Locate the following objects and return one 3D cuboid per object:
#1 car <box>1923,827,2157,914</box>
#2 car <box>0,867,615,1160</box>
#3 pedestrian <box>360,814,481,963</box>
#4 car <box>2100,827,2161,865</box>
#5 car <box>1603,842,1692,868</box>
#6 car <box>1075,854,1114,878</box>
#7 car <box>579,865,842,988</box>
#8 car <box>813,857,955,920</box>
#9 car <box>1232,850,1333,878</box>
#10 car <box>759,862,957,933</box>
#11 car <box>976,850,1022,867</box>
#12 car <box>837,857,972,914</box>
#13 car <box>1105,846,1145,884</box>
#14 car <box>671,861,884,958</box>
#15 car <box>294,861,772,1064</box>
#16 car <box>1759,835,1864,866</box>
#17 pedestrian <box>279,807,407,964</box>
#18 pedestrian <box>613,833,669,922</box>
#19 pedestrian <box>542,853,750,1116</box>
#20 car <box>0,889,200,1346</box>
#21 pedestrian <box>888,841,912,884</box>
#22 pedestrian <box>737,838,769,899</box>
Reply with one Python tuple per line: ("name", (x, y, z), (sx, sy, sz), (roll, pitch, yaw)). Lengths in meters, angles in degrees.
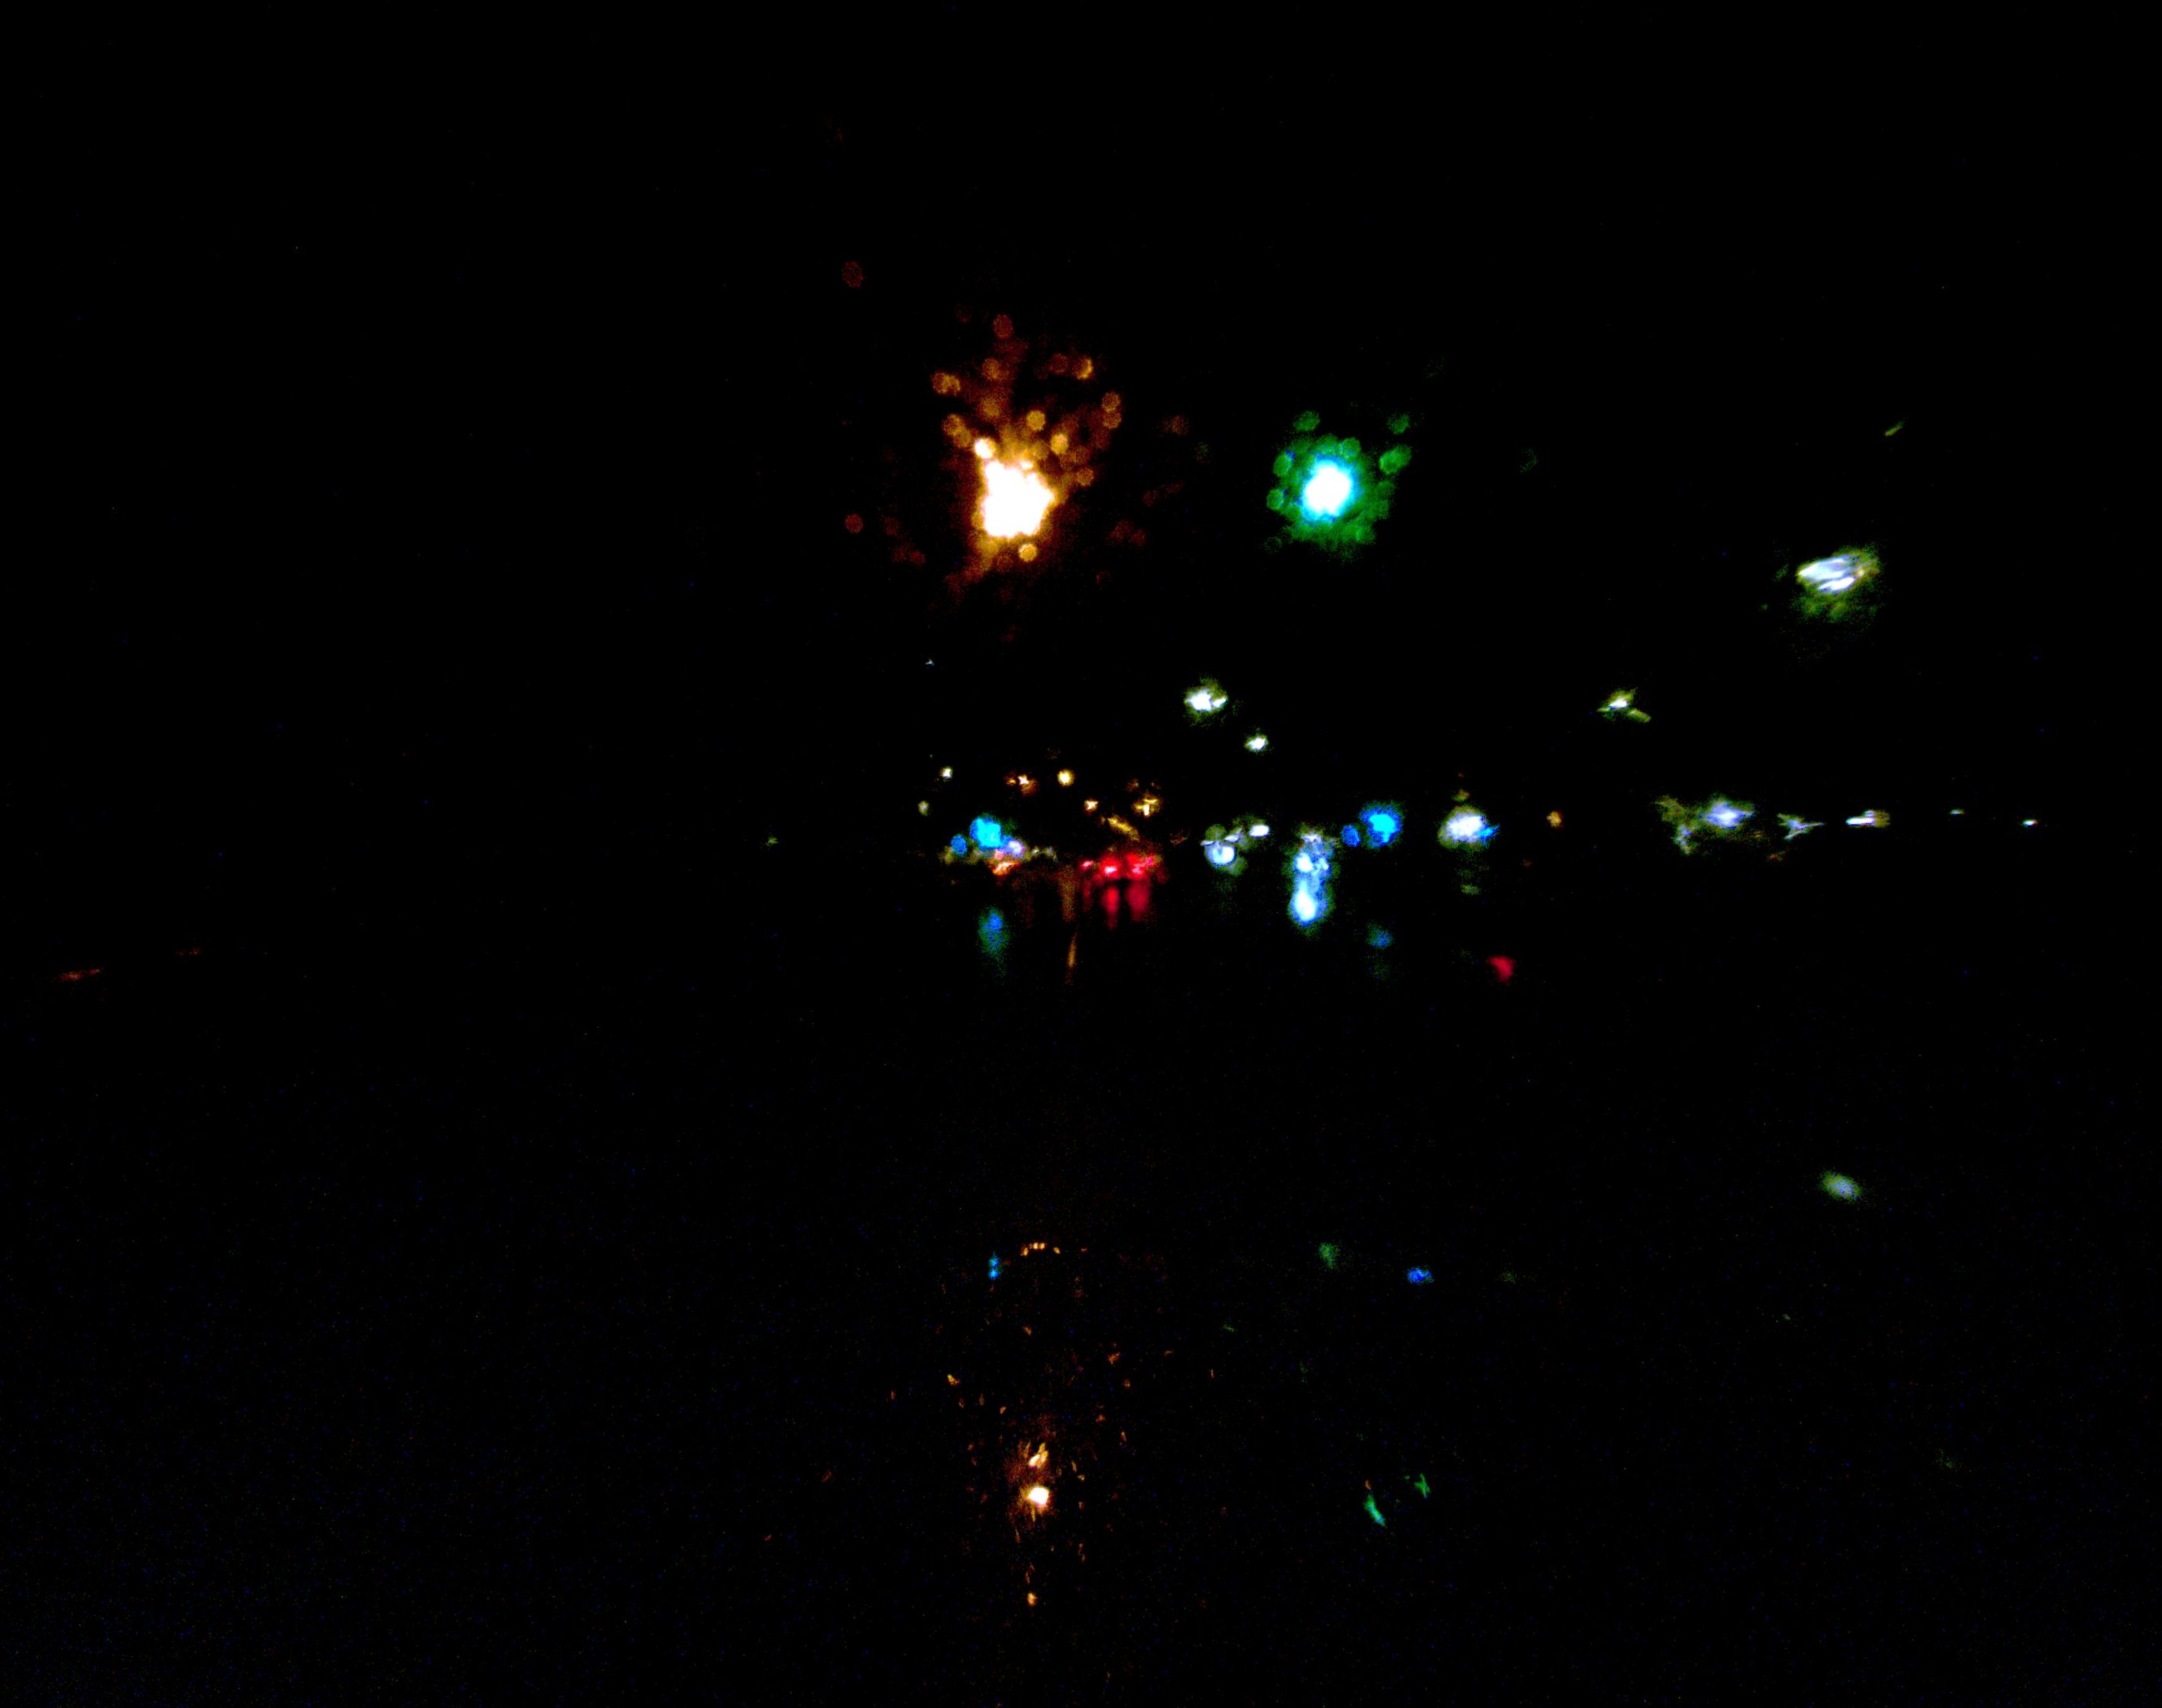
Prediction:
("car", (21.419, 0.329, 17.239), (1.696, 1.718, 4.007), (1, 0, 26))
("car", (-5.518, 0.923, 5.612), (3.403, 1.552, 1.590), (-1, 1, -36))
("pedestrian", (-8.508, 0.441, 9.826), (0.747, 1.829, 0.871), (1, -1, 1))
("car", (54.404, -0.418, 37.820), (3.989, 1.827, 1.858), (-1, 1, 30))
("car", (35.540, 0.056, 47.785), (4.210, 1.557, 1.853), (-1, 1, 27))
("car", (0.824, 0.723, 48.946), (1.828, 1.417, 4.202), (-1, 0, -9))
("car", (-5.660, 0.987, 11.721), (3.403, 1.552, 1.634), (-1, 1, -35))
("car", (-5.329, 0.883, 20.706), (3.403, 1.583, 1.590), (0, 0, -35))
("car", (10.695, 0.500, 40.699), (2.004, 1.417, 5.055), (-1, 1, -37))
("car", (-5.128, 0.923, 17.728), (4.123, 1.483, 1.590), (0, 0, -36))
("car", (-7.092, 0.355, 65.161), (4.194, 1.417, 1.628), (0, 1, 44))
("car", (-5.346, 0.896, 23.210), (3.608, 1.552, 1.707), (-1, 1, -37))
("car", (2.134, 0.496, 37.791), (1.810, 1.759, 4.272), (-2, 0, 1))
("car", (-5.707, 0.949, 14.369), (3.488, 1.552, 1.633), (-1, 1, -32))
("car", (-5.534, 0.958, 8.276), (3.808, 1.679, 1.832), (-1, 1, -29))
("car", (42.321, -0.193, 44.157), (3.989, 1.761, 2.004), (-1, 1, 28))
("pedestrian", (-9.307, 0.398, 9.621), (0.747, 1.892, 0.843), (1, -1, 1))
("pedestrian", (-9.054, 0.475, 15.653), (0.657, 1.779, 0.784), (1, -1, 1))
("pedestrian", (-3.188, 0.884, 5.713), (0.824, 1.760, 1.177), (-1, 1, 1))
("car", (-5.675, 0.981, 2.355), (3.517, 1.552, 1.590), (-1, 1, -34))
("pedestrian", (-8.077, 0.401, 33.988), (0.806, 1.894, 0.884), (1, -1, 1))
("pedestrian", (-8.957, 0.405, 20.774), (0.575, 1.654, 0.601), (1, -1, 1))
